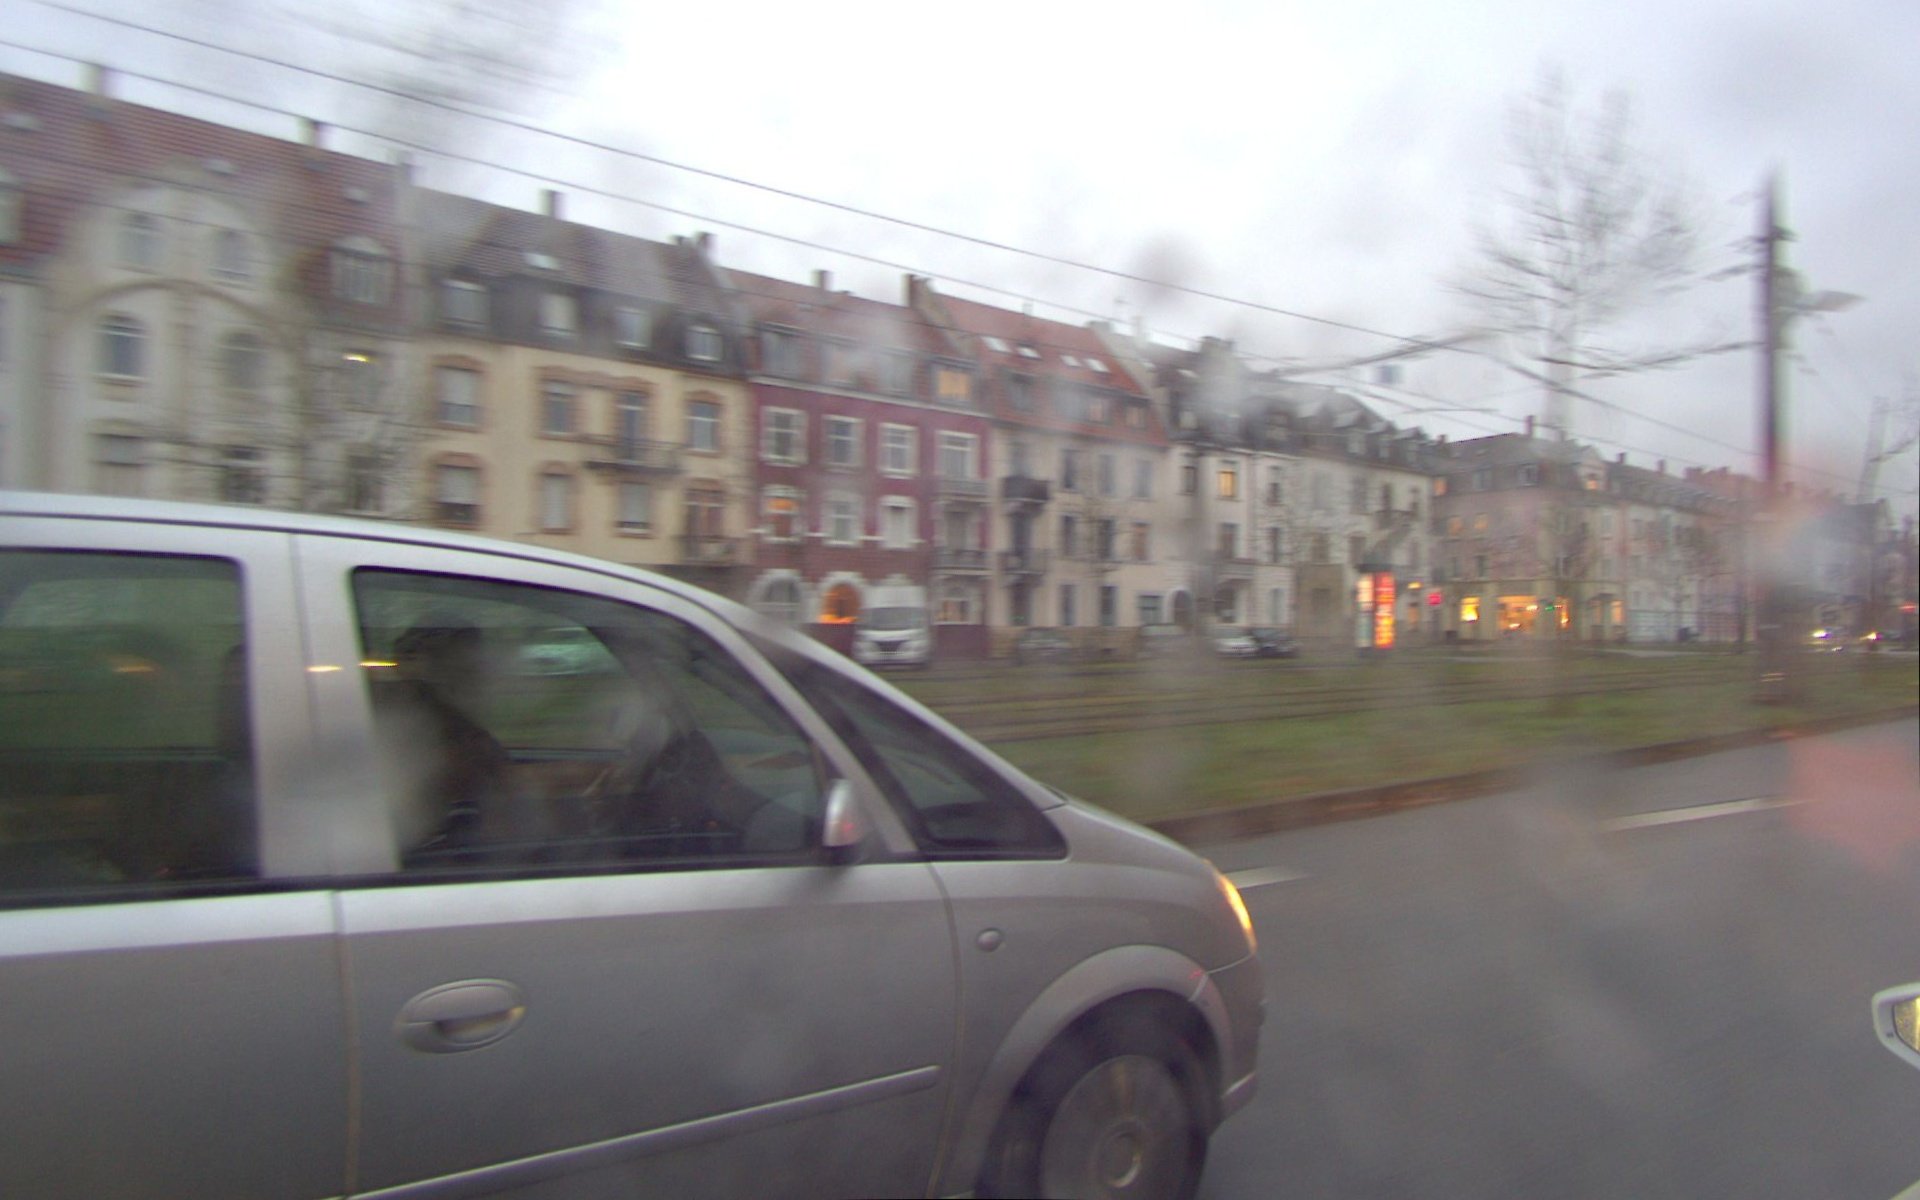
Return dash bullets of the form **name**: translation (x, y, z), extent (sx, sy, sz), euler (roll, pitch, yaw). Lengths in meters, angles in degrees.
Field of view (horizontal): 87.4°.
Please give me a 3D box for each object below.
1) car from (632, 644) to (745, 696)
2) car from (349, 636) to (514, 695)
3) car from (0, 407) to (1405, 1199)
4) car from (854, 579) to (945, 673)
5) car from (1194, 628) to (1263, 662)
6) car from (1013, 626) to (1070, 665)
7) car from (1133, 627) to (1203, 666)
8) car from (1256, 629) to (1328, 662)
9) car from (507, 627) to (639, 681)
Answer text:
- **car**: translation (-7.687, 1.955, 28.845), extent (1.960, 1.349, 4.002), euler (0, -2, 3)
- **car**: translation (-13.157, 1.588, 25.324), extent (1.960, 1.349, 4.001), euler (0, -2, 1)
- **car**: translation (-1.009, 0.602, 2.296), extent (4.009, 1.621, 1.799), euler (1, -1, -33)
- **car**: translation (-1.866, 0.881, 33.255), extent (1.959, 2.834, 5.871), euler (0, -2, 7)
- **car**: translation (11.102, 1.830, 41.771), extent (1.960, 1.349, 4.002), euler (0, -2, 3)
- **car**: translation (2.931, 1.629, 36.793), extent (1.960, 1.349, 4.002), euler (0, -2, 3)
- **car**: translation (8.296, 1.848, 40.447), extent (1.961, 1.505, 4.001), euler (0, -2, 0)
- **car**: translation (14.256, 1.924, 43.331), extent (1.960, 1.349, 4.002), euler (0, -2, 3)
- **car**: translation (-10.290, 1.412, 27.058), extent (1.960, 1.349, 4.001), euler (0, -2, 0)
